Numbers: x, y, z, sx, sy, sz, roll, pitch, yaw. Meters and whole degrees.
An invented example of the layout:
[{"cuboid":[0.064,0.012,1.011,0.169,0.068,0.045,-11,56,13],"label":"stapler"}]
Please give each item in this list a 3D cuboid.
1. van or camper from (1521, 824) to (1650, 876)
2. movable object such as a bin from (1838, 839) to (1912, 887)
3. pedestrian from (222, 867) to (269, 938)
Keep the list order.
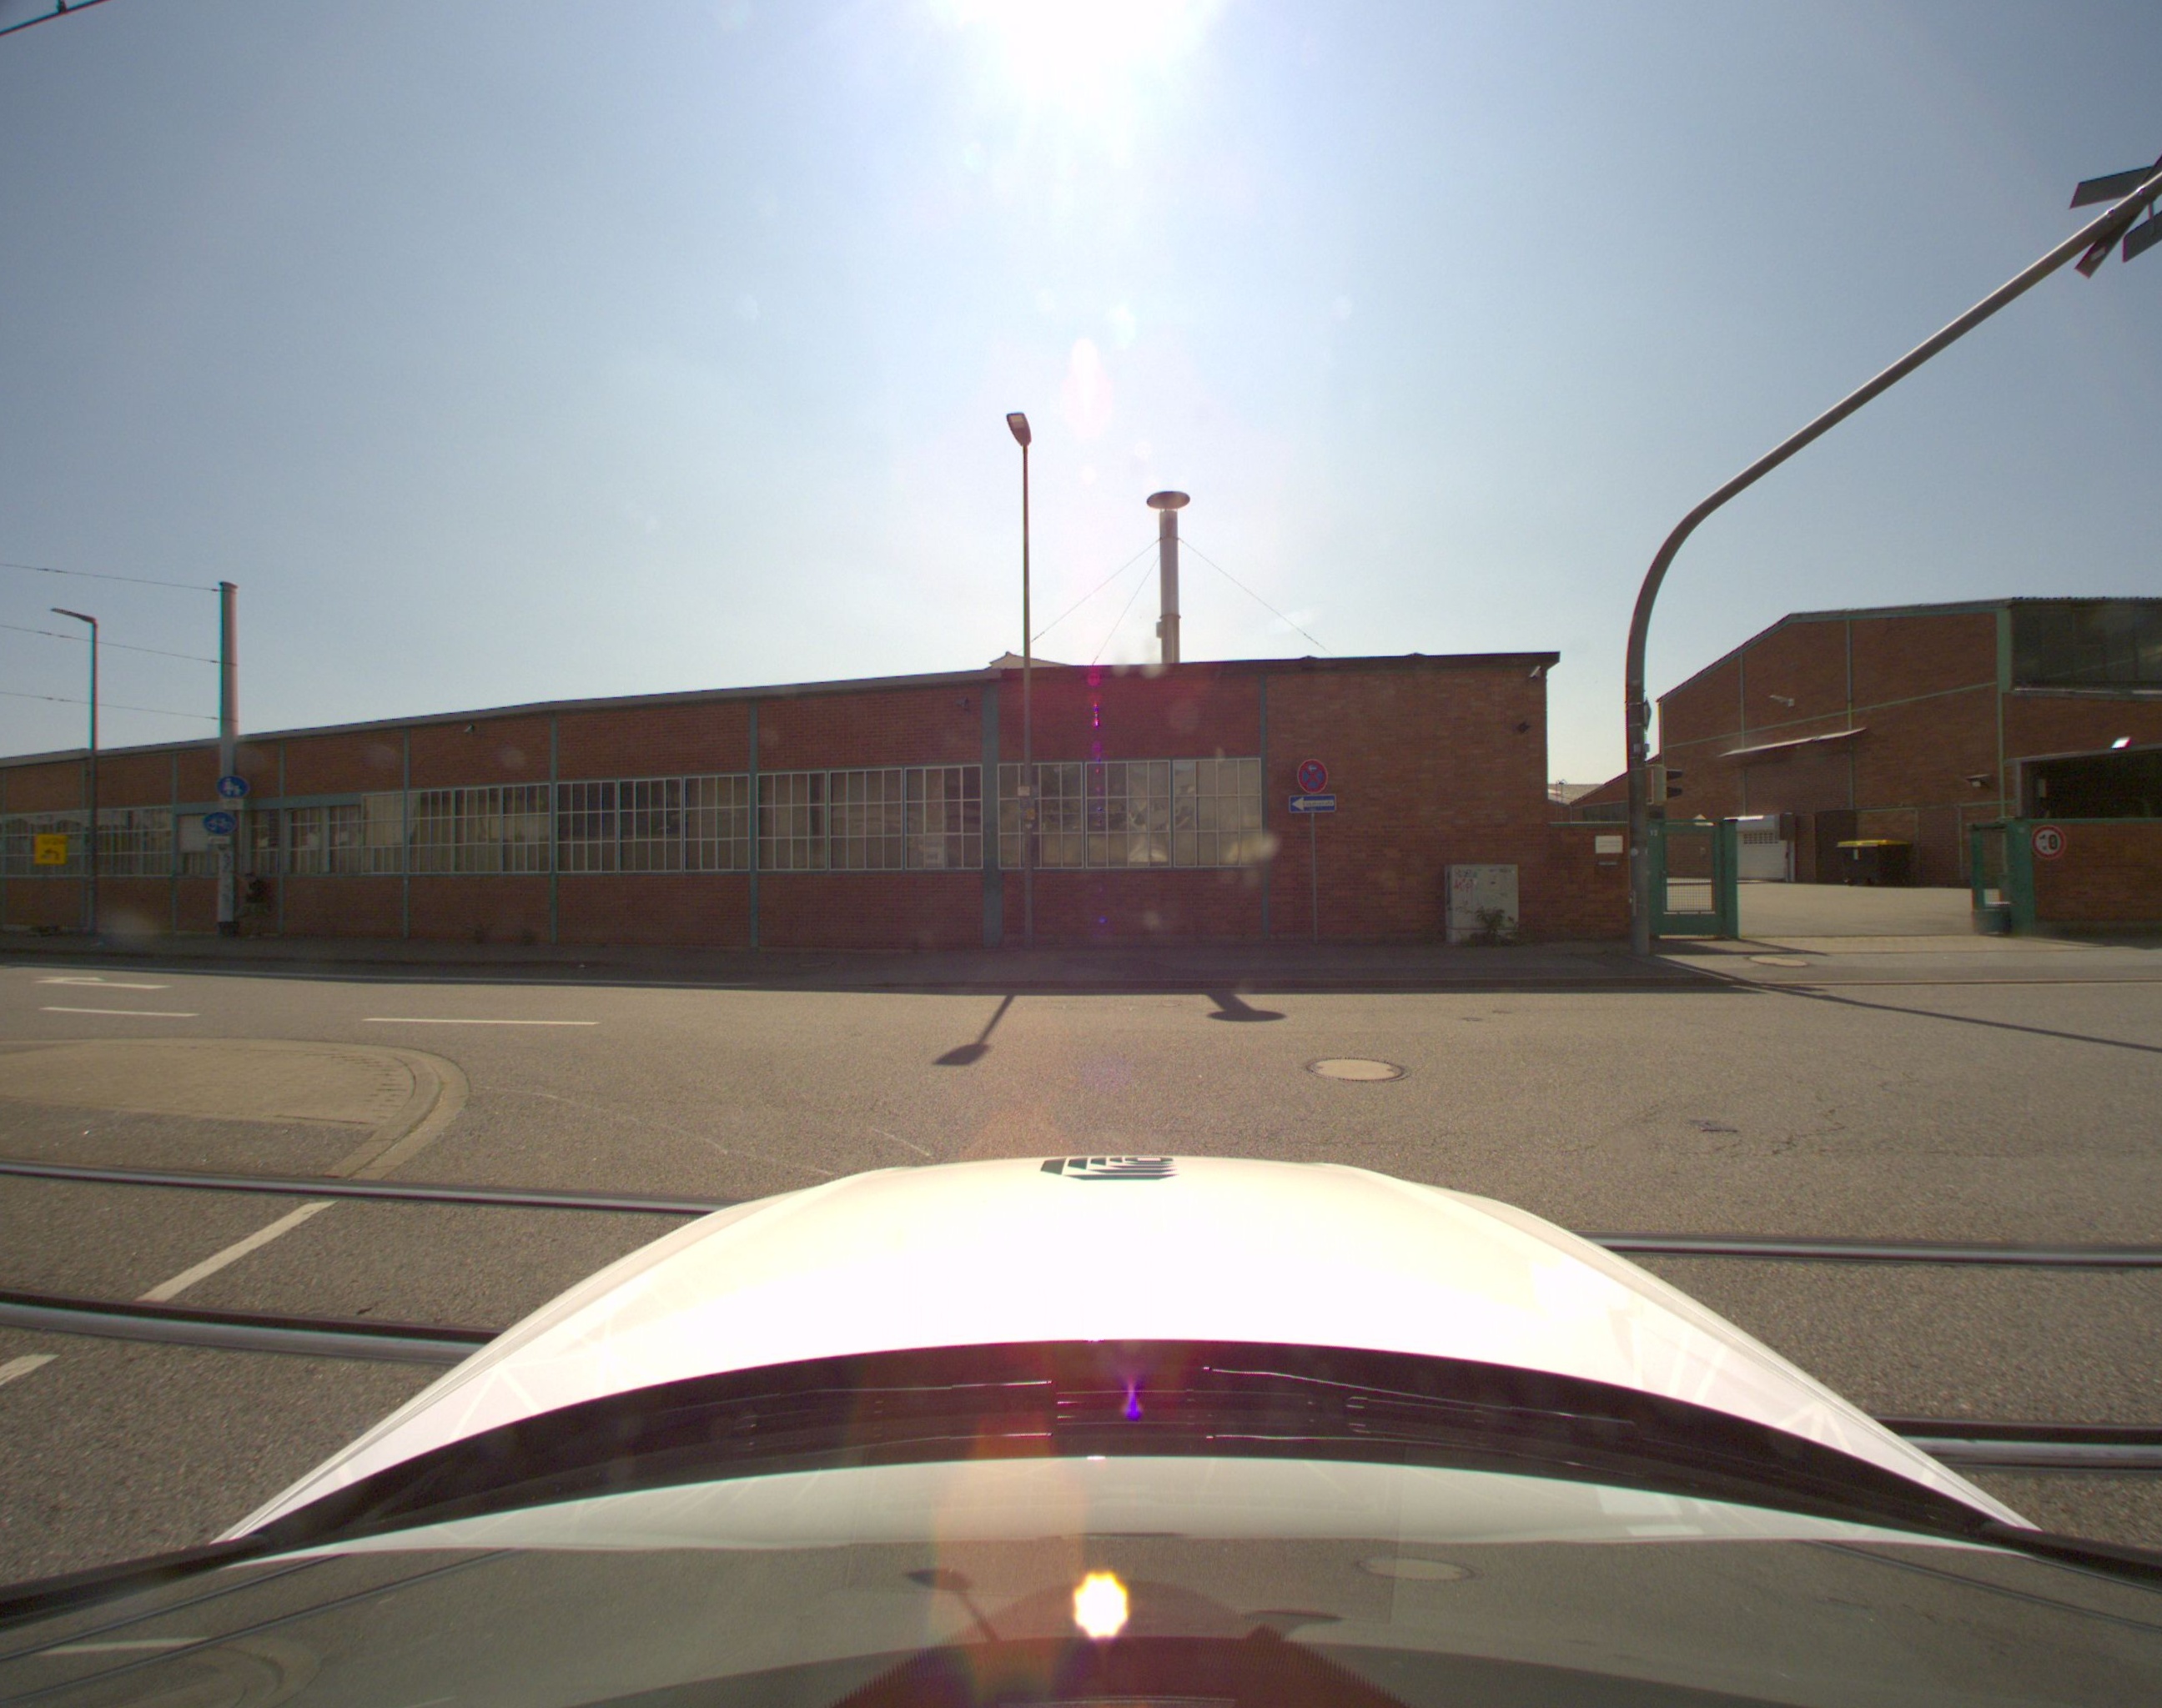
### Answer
[{"cuboid":[20.081,-0.119,32.435,4.419,1.900,1.988,1,0,-18],"label":"van or camper"},{"cuboid":[22.799,0.243,23.402,0.971,1.314,1.152,-2,0,1],"label":"movable object such as a bin"},{"cuboid":[-21.415,1.221,20.878,0.444,1.765,0.690,1,-1,22],"label":"pedestrian"}]
